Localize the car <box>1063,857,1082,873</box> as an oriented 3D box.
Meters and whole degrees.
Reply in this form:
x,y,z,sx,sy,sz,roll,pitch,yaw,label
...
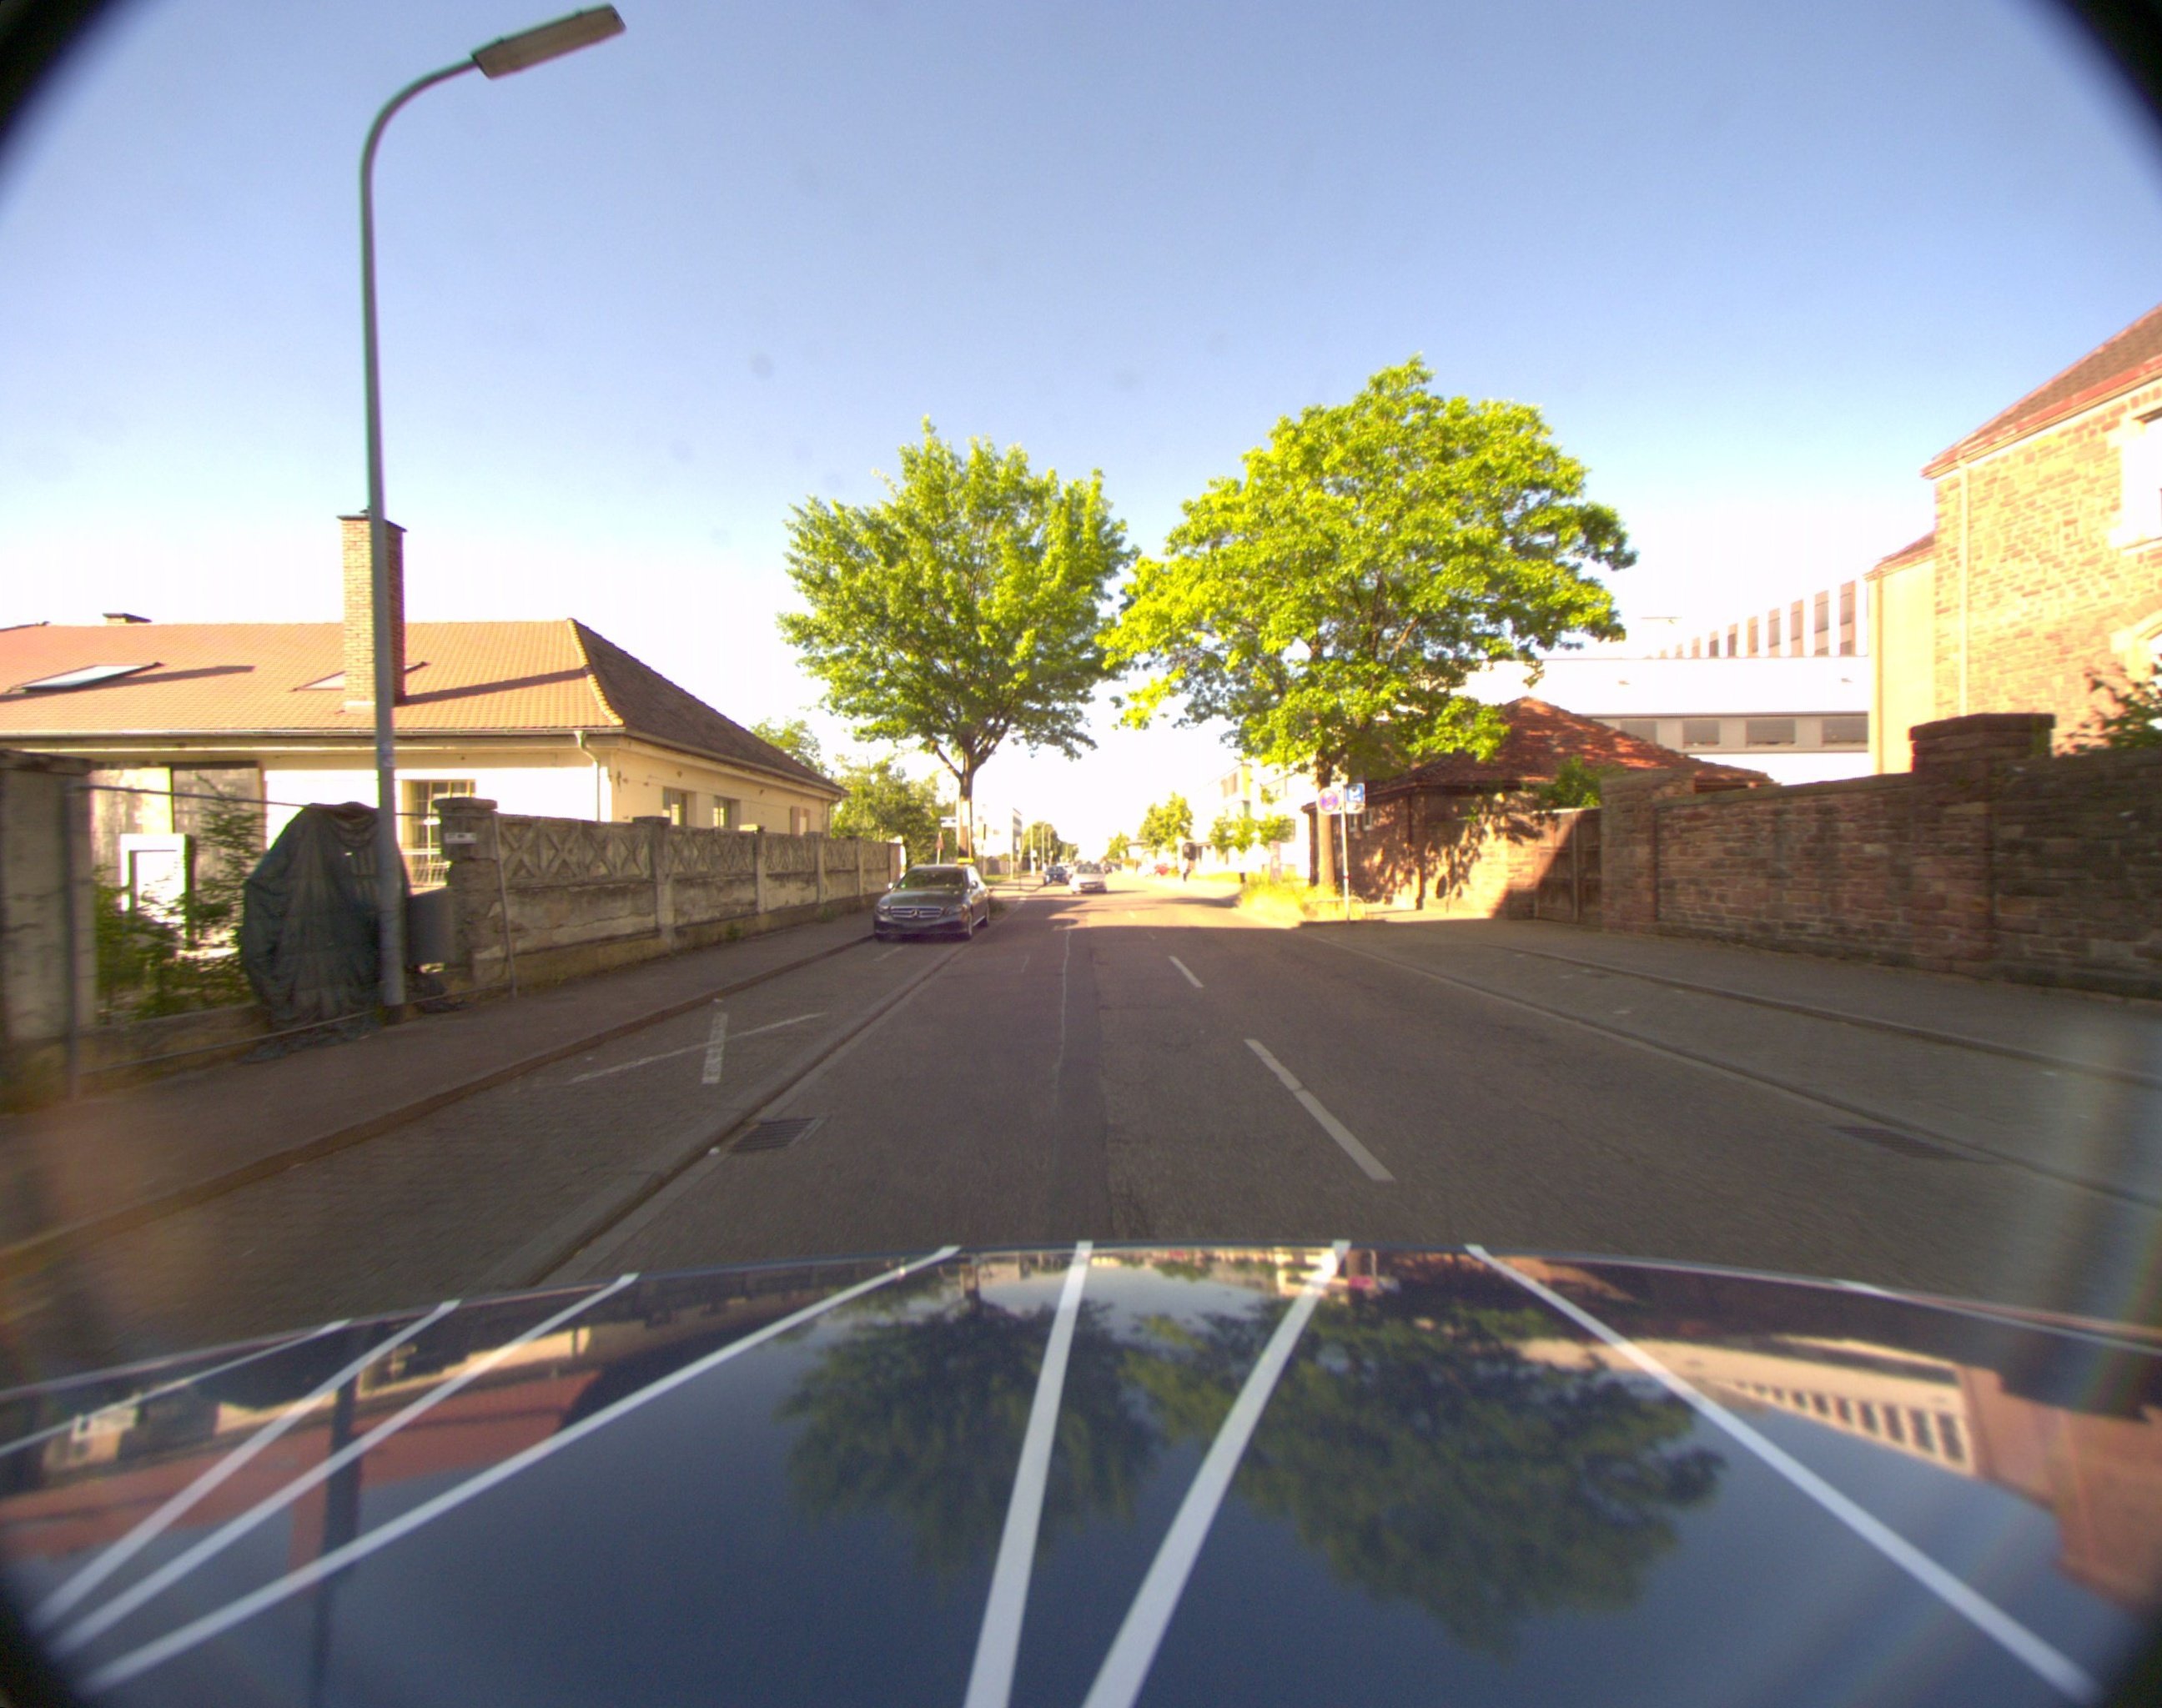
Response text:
x,y,z,sx,sy,sz,roll,pitch,yaw,label
-0.929,1.148,83.323,1.998,1.668,4.000,-1,0,1,car

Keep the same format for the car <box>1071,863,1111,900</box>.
x,y,z,sx,sy,sz,roll,pitch,yaw,label
0.512,1.274,36.592,1.748,1.613,4.106,-2,0,1,car

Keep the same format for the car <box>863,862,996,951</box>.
x,y,z,sx,sy,sz,roll,pitch,yaw,label
-3.012,0.988,16.050,1.887,1.592,4.299,-1,0,1,car

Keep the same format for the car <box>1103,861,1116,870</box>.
x,y,z,sx,sy,sz,roll,pitch,yaw,label
4.593,1.796,122.200,1.998,1.406,4.000,-2,0,1,car

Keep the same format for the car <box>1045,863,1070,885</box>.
x,y,z,sx,sy,sz,roll,pitch,yaw,label
-1.704,1.448,55.497,1.757,1.459,3.486,-2,0,-1,car
